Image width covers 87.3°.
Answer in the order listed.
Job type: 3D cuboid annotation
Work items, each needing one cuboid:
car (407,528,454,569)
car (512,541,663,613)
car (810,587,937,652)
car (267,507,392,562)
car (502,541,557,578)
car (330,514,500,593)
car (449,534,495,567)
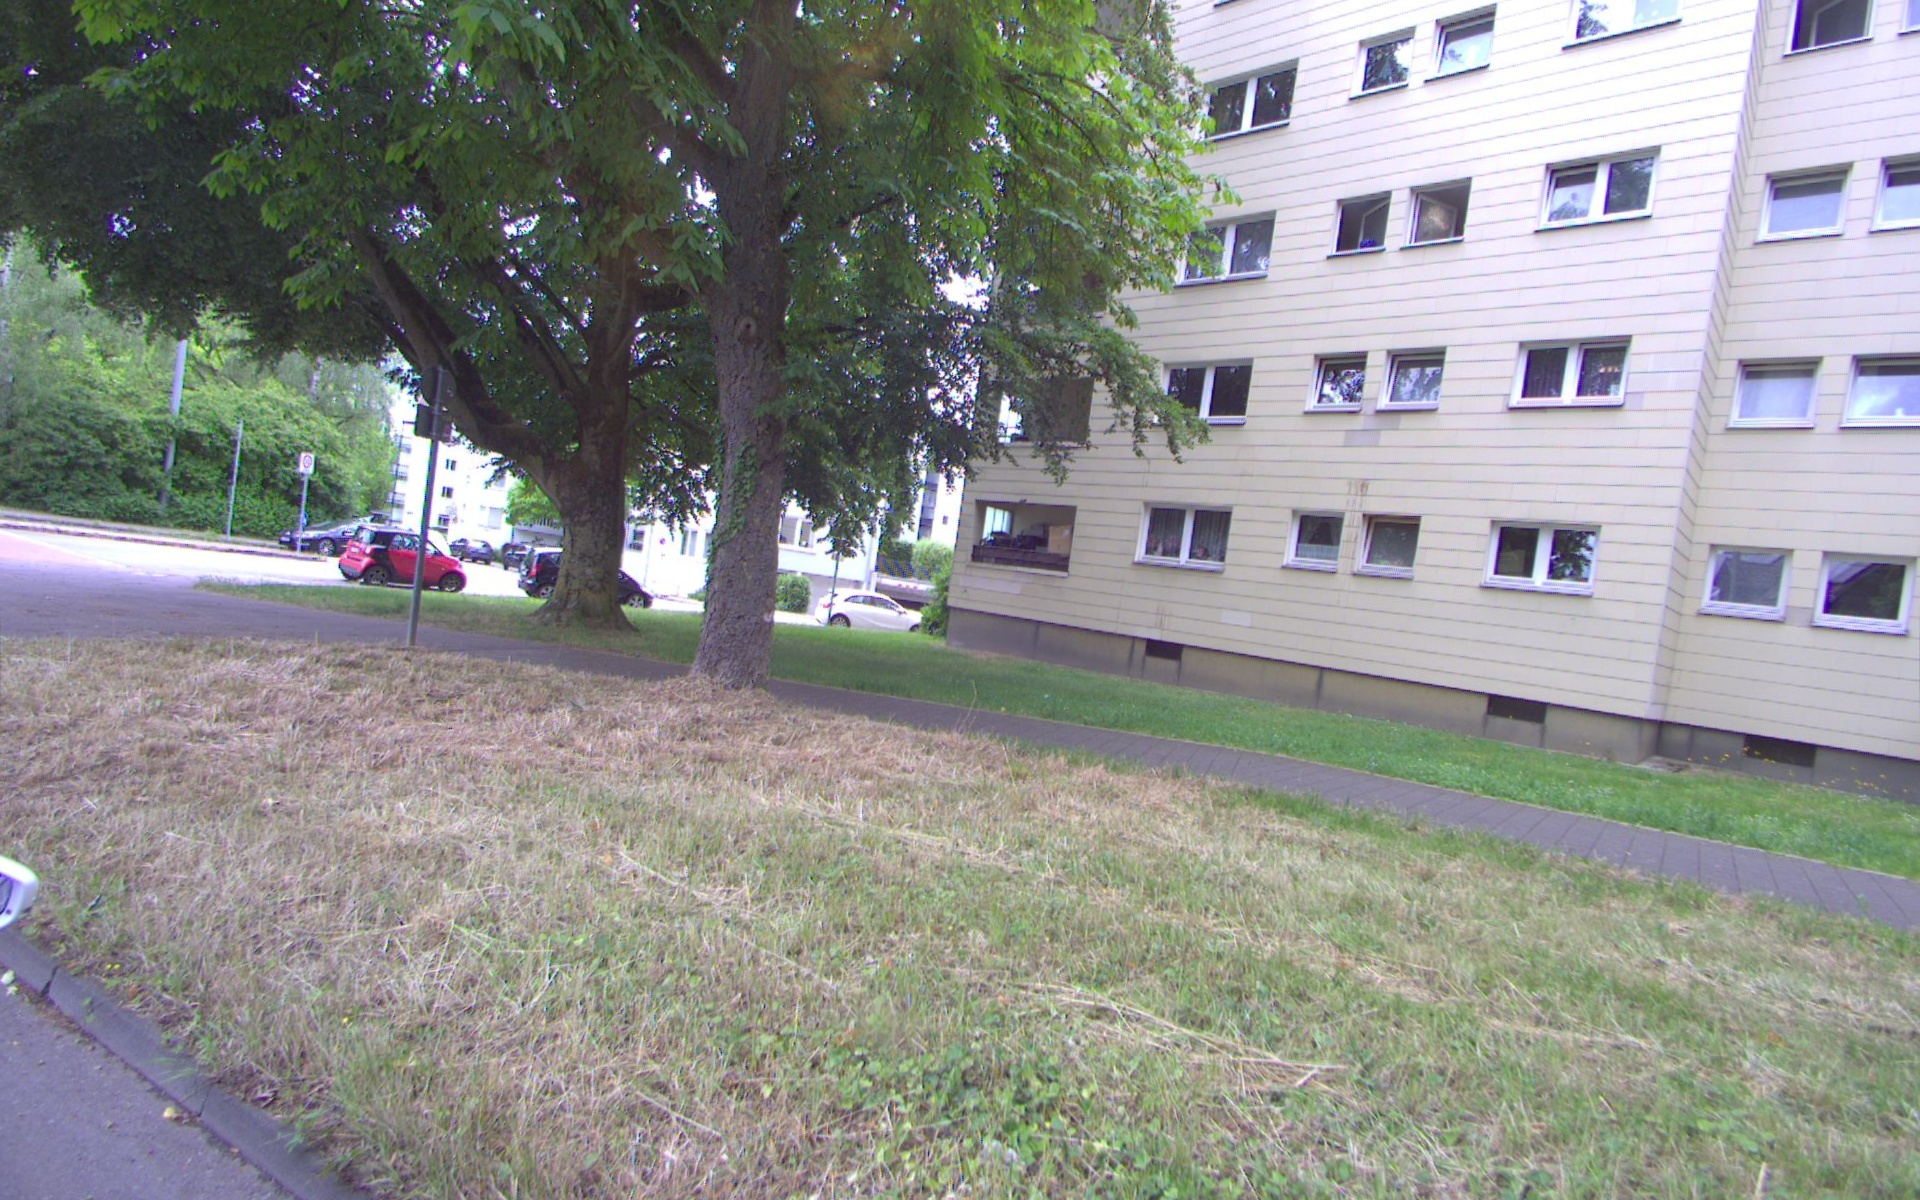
[{"bbox_3d":[-24.879,-2.443,47.178,1.709,1.631,3.823,6,1,-30],"label":"car"},{"bbox_3d":[-11.059,-0.676,29.917,3.814,1.631,1.713,6,1,-33],"label":"car"},{"bbox_3d":[-2.887,0.630,33.305,3.796,1.631,1.721,7,1,-18],"label":"car"},{"bbox_3d":[-23.404,-2.406,37.427,1.702,1.549,3.515,8,1,38],"label":"car"},{"bbox_3d":[-23.189,-2.200,54.066,1.713,1.631,3.813,6,1,-38],"label":"car"},{"bbox_3d":[-14.530,-1.209,26.943,1.702,1.631,3.516,8,1,37],"label":"car"},{"bbox_3d":[-30.114,-3.074,62.019,1.713,1.631,3.813,6,1,-38],"label":"car"}]
